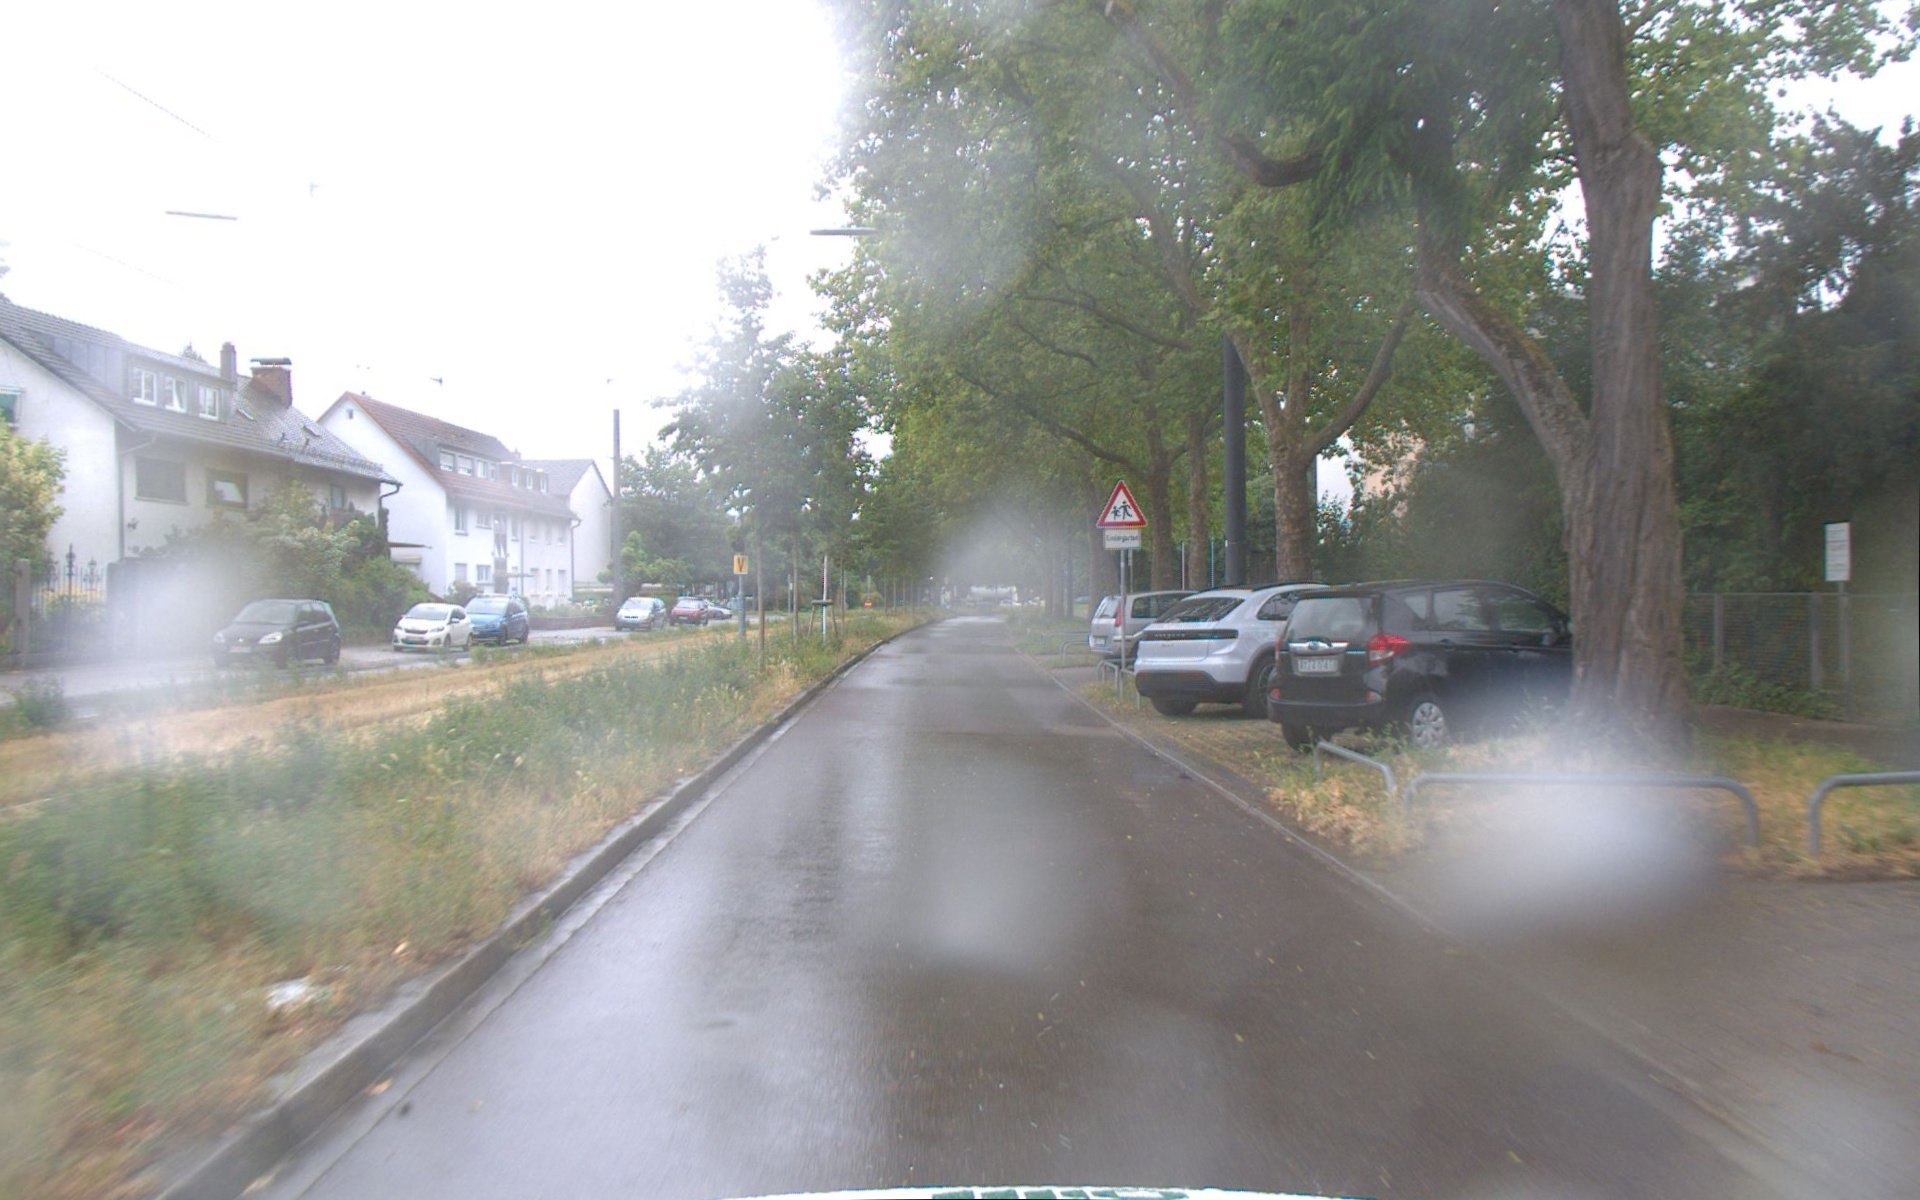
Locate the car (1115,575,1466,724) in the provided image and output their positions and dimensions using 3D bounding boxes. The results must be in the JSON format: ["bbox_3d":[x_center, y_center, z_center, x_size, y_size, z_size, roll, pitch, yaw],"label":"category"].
[{"bbox_3d":[4.459,0.579,21.983,4.726,1.697,1.968,-2,1,-38],"label":"car"}]

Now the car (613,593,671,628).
[{"bbox_3d":[-15.756,0.499,82.160,1.953,1.608,4.517,1,1,0],"label":"car"}]

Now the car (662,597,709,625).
[{"bbox_3d":[-15.901,0.615,96.022,1.953,1.514,4.205,1,1,0],"label":"car"}]

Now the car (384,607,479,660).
[{"bbox_3d":[-16.436,1.017,51.574,1.759,1.514,3.597,1,1,0],"label":"car"}]

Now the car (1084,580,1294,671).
[{"bbox_3d":[4.552,0.478,33.015,3.791,1.593,1.613,-3,1,-15],"label":"car"}]

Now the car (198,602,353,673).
[{"bbox_3d":[-16.365,0.859,39.790,1.953,1.542,4.205,1,1,0],"label":"car"}]

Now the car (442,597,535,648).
[{"bbox_3d":[-16.553,0.758,58.242,1.953,1.642,4.413,1,1,0],"label":"car"}]

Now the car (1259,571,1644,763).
[{"bbox_3d":[4.790,0.563,15.978,3.670,1.593,1.600,-2,1,-34],"label":"car"}]
